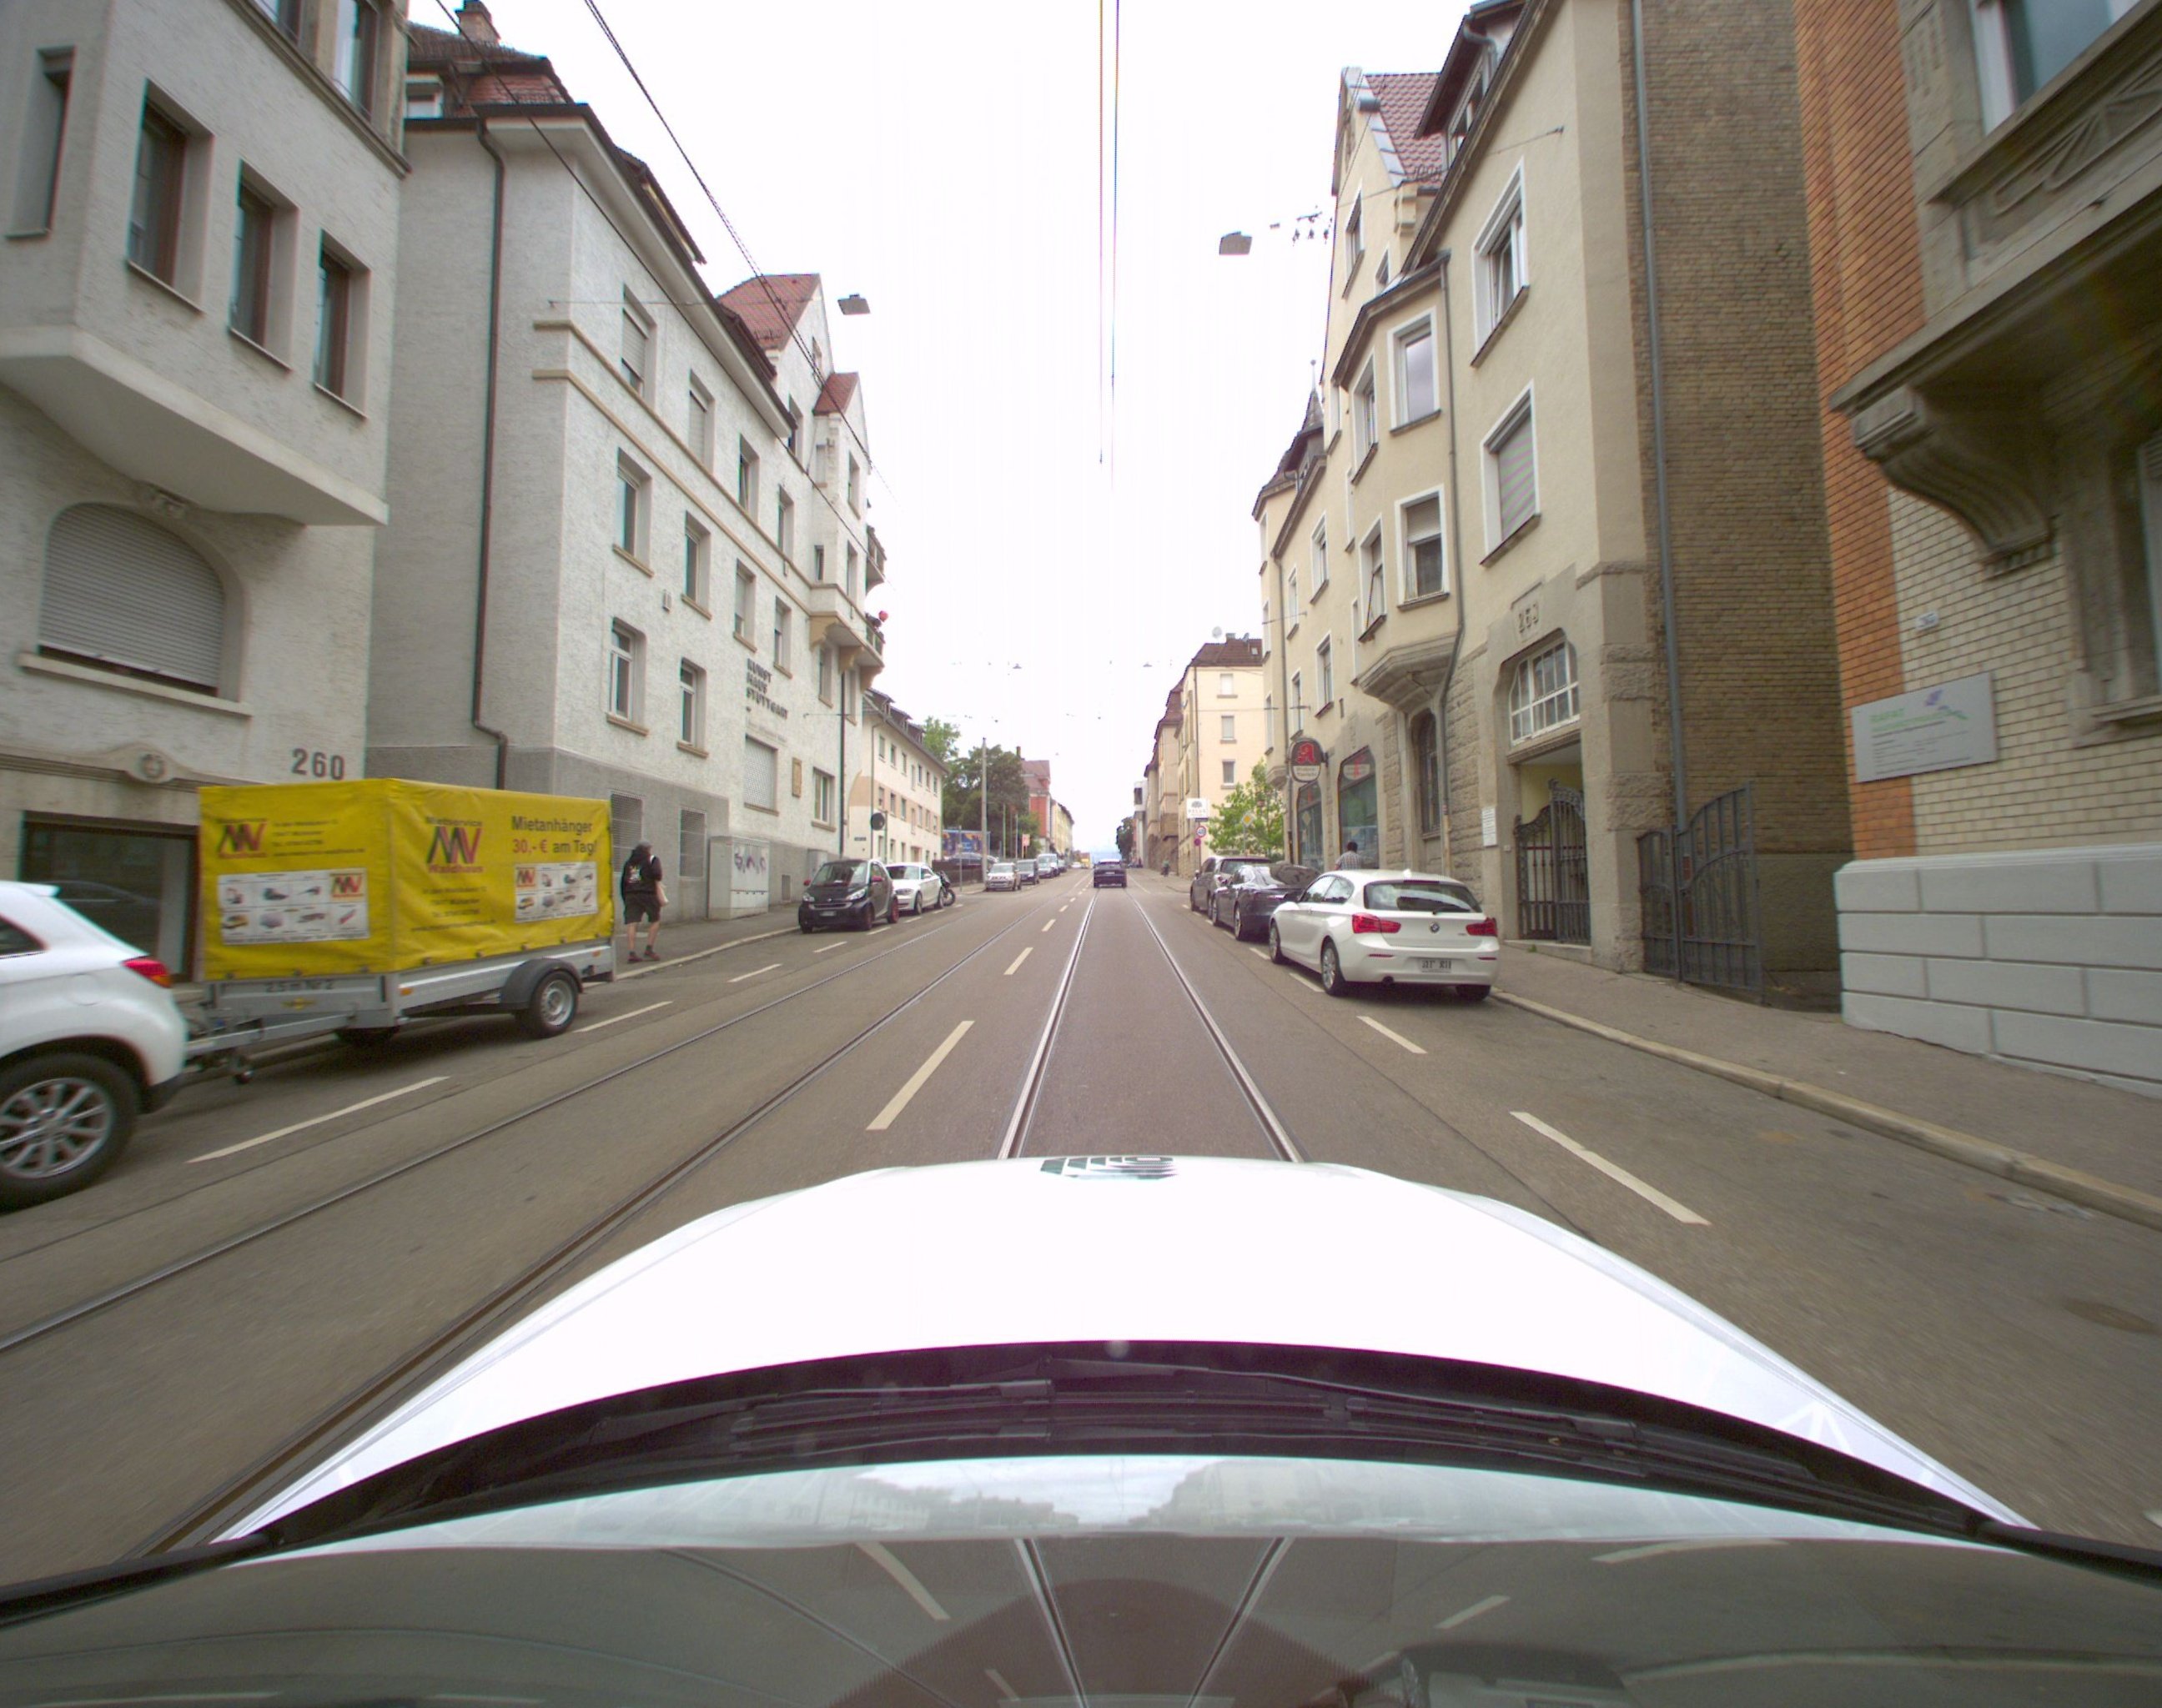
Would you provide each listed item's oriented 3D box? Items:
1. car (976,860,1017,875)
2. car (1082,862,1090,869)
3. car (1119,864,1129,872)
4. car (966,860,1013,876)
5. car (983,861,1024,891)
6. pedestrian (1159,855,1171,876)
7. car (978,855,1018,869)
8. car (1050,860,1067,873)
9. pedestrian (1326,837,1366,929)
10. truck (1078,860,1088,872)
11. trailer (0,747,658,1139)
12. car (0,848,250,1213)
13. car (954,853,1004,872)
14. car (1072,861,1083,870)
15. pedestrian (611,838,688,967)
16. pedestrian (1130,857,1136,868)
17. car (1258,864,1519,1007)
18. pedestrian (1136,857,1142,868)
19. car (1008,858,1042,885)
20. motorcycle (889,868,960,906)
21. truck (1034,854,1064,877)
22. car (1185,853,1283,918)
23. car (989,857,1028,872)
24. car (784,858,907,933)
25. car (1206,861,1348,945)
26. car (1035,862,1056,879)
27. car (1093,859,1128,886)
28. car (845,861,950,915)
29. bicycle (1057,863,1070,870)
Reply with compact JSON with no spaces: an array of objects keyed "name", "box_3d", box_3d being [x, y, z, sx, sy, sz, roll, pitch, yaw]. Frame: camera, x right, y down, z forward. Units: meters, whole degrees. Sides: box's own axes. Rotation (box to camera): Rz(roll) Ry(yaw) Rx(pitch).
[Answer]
[{"name":"car","box_3d":[-8.285,1.319,80.073,3.862,1.357,1.688,0,0,1]},{"name":"car","box_3d":[1.111,2.608,182.757,1.848,1.607,4.298,-1,0,2]},{"name":"car","box_3d":[8.914,2.869,168.158,1.986,1.563,4.292,-1,0,2]},{"name":"car","box_3d":[-8.439,1.286,75.279,4.046,1.445,1.688,0,0,1]},{"name":"car","box_3d":[-4.322,1.203,45.974,1.689,1.556,3.853,-1,0,3]},{"name":"pedestrian","box_3d":[7.085,0.951,68.405,0.867,1.686,0.663,-2,-1,0]},{"name":"car","box_3d":[-8.378,0.786,82.685,3.862,1.357,1.688,0,0,1]},{"name":"car","box_3d":[-2.669,1.467,97.149,1.705,1.446,4.292,-1,0,2]},{"name":"pedestrian","box_3d":[5.323,0.581,16.362,0.597,1.803,0.632,0,-1,1]},{"name":"truck","box_3d":[0.479,3.042,203.084,2.294,3.037,9.036,0,-1,2]},{"name":"trailer","box_3d":[-5.514,0.509,6.664,1.742,2.155,4.073,-3,0,2]},{"name":"car","box_3d":[-5.653,0.818,2.473,1.690,1.593,4.271,-3,0,2]},{"name":"car","box_3d":[-8.813,0.692,70.554,4.046,1.552,1.688,1,0,1]},{"name":"car","box_3d":[-0.681,2.093,150.247,1.848,1.607,4.298,-1,0,2]},{"name":"pedestrian","box_3d":[-6.685,0.734,12.666,0.587,1.906,0.811,4,-1,1]},{"name":"pedestrian","box_3d":[7.972,1.331,125.027,0.788,1.667,0.799,-1,-1,4]},{"name":"car","box_3d":[3.589,0.852,10.405,1.744,1.390,4.308,1,0,1]},{"name":"pedestrian","box_3d":[8.920,1.335,124.986,0.788,1.667,0.799,-1,-1,4]},{"name":"car","box_3d":[-3.844,1.158,56.989,1.736,1.736,4.523,-3,-1,3]},{"name":"motorcycle","box_3d":[-5.057,1.052,26.345,2.093,1.134,0.769,-2,0,15]},{"name":"truck","box_3d":[-3.194,1.092,82.160,2.271,2.188,8.030,-1,0,3]},{"name":"car","box_3d":[3.963,0.773,21.849,1.729,1.537,4.573,1,0,0]},{"name":"car","box_3d":[-7.665,1.147,86.262,3.964,1.551,1.680,0,0,-13]},{"name":"car","box_3d":[-5.150,0.861,18.189,1.690,1.468,3.025,-3,-1,2]},{"name":"car","box_3d":[3.751,0.864,16.418,1.773,1.390,4.692,1,0,1]},{"name":"car","box_3d":[-3.226,1.538,75.018,1.691,1.433,4.481,-3,0,0]},{"name":"car","box_3d":[1.804,1.110,49.518,1.986,1.563,4.292,-1,0,2]},{"name":"car","box_3d":[-5.049,0.899,23.052,1.772,1.357,4.295,-1,0,3]},{"name":"bicycle","box_3d":[-2.534,1.813,120.598,1.903,1.000,0.479,-1,-1,2]}]
